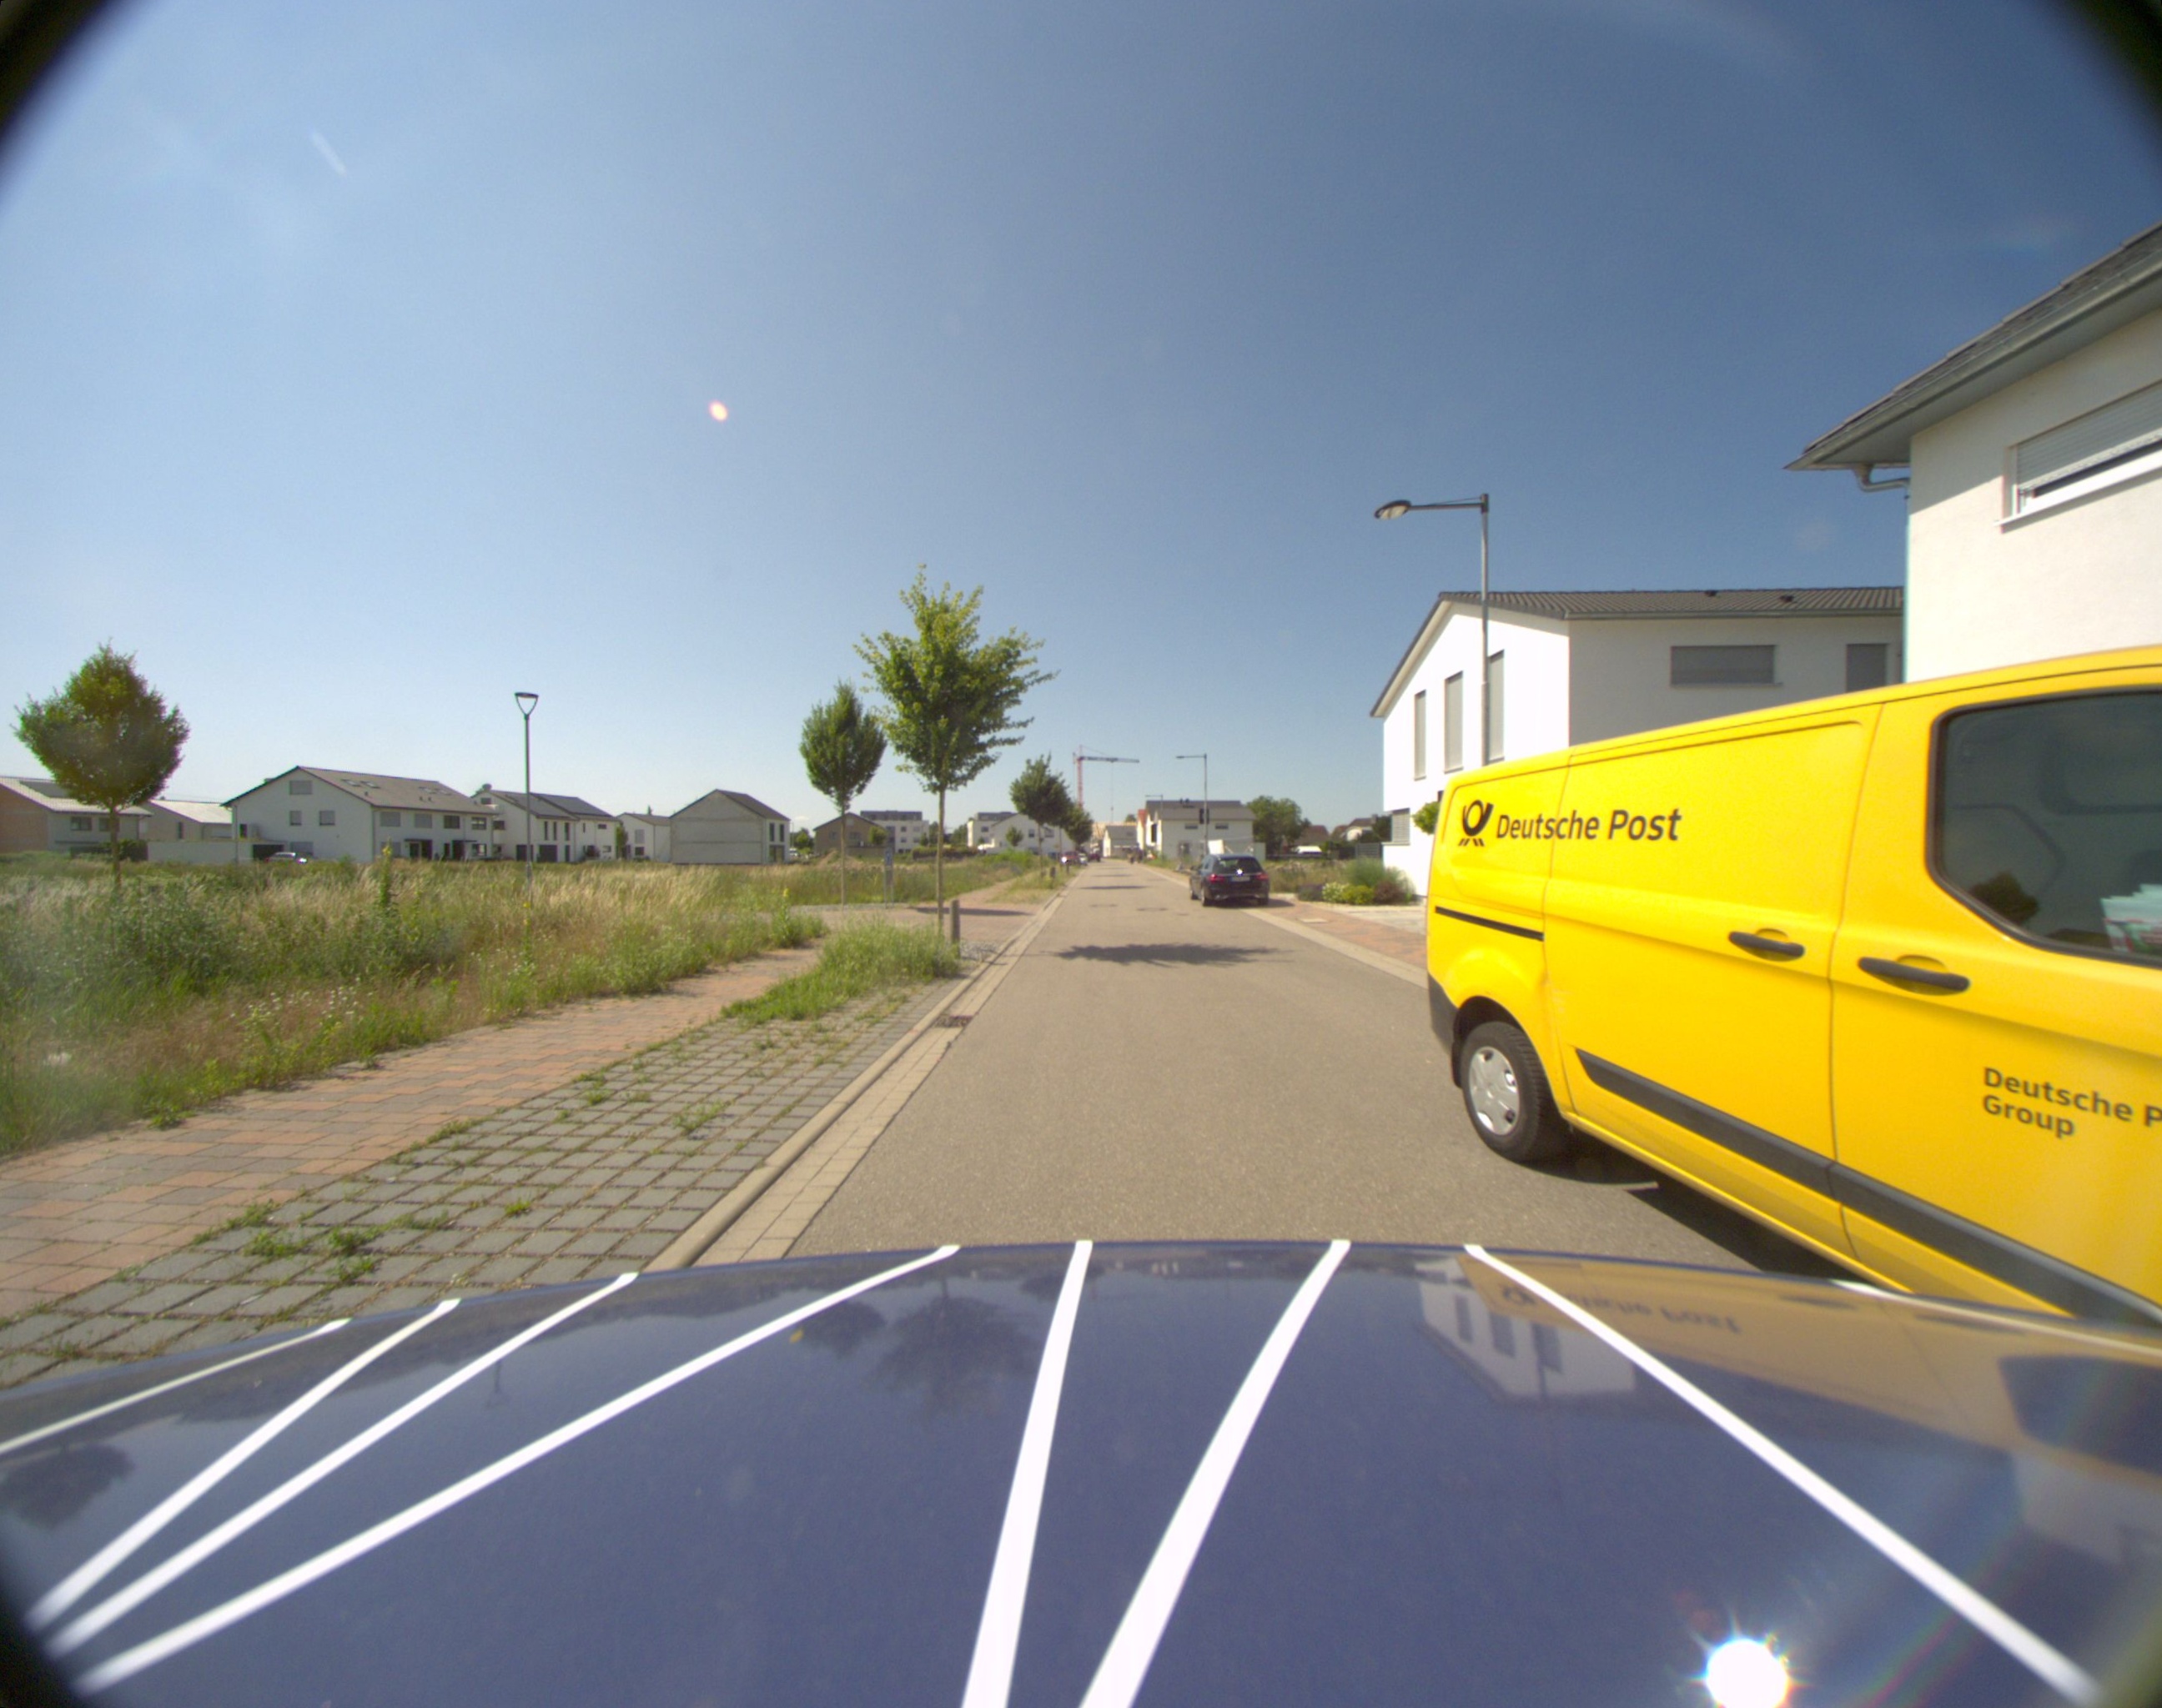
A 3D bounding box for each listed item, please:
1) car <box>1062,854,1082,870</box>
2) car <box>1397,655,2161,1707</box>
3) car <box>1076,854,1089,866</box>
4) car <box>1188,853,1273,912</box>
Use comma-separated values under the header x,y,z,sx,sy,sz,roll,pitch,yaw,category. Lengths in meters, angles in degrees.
x,y,z,sx,sy,sz,roll,pitch,yaw,category
-0.869,0.768,73.915,1.768,1.483,4.000,0,0,1,car
2.931,0.607,2.093,1.889,2.002,4.839,-1,0,-3,car
0.222,0.745,93.466,1.493,1.389,3.272,0,0,1,car
4.197,0.747,21.959,1.694,1.464,4.445,-2,0,2,car
